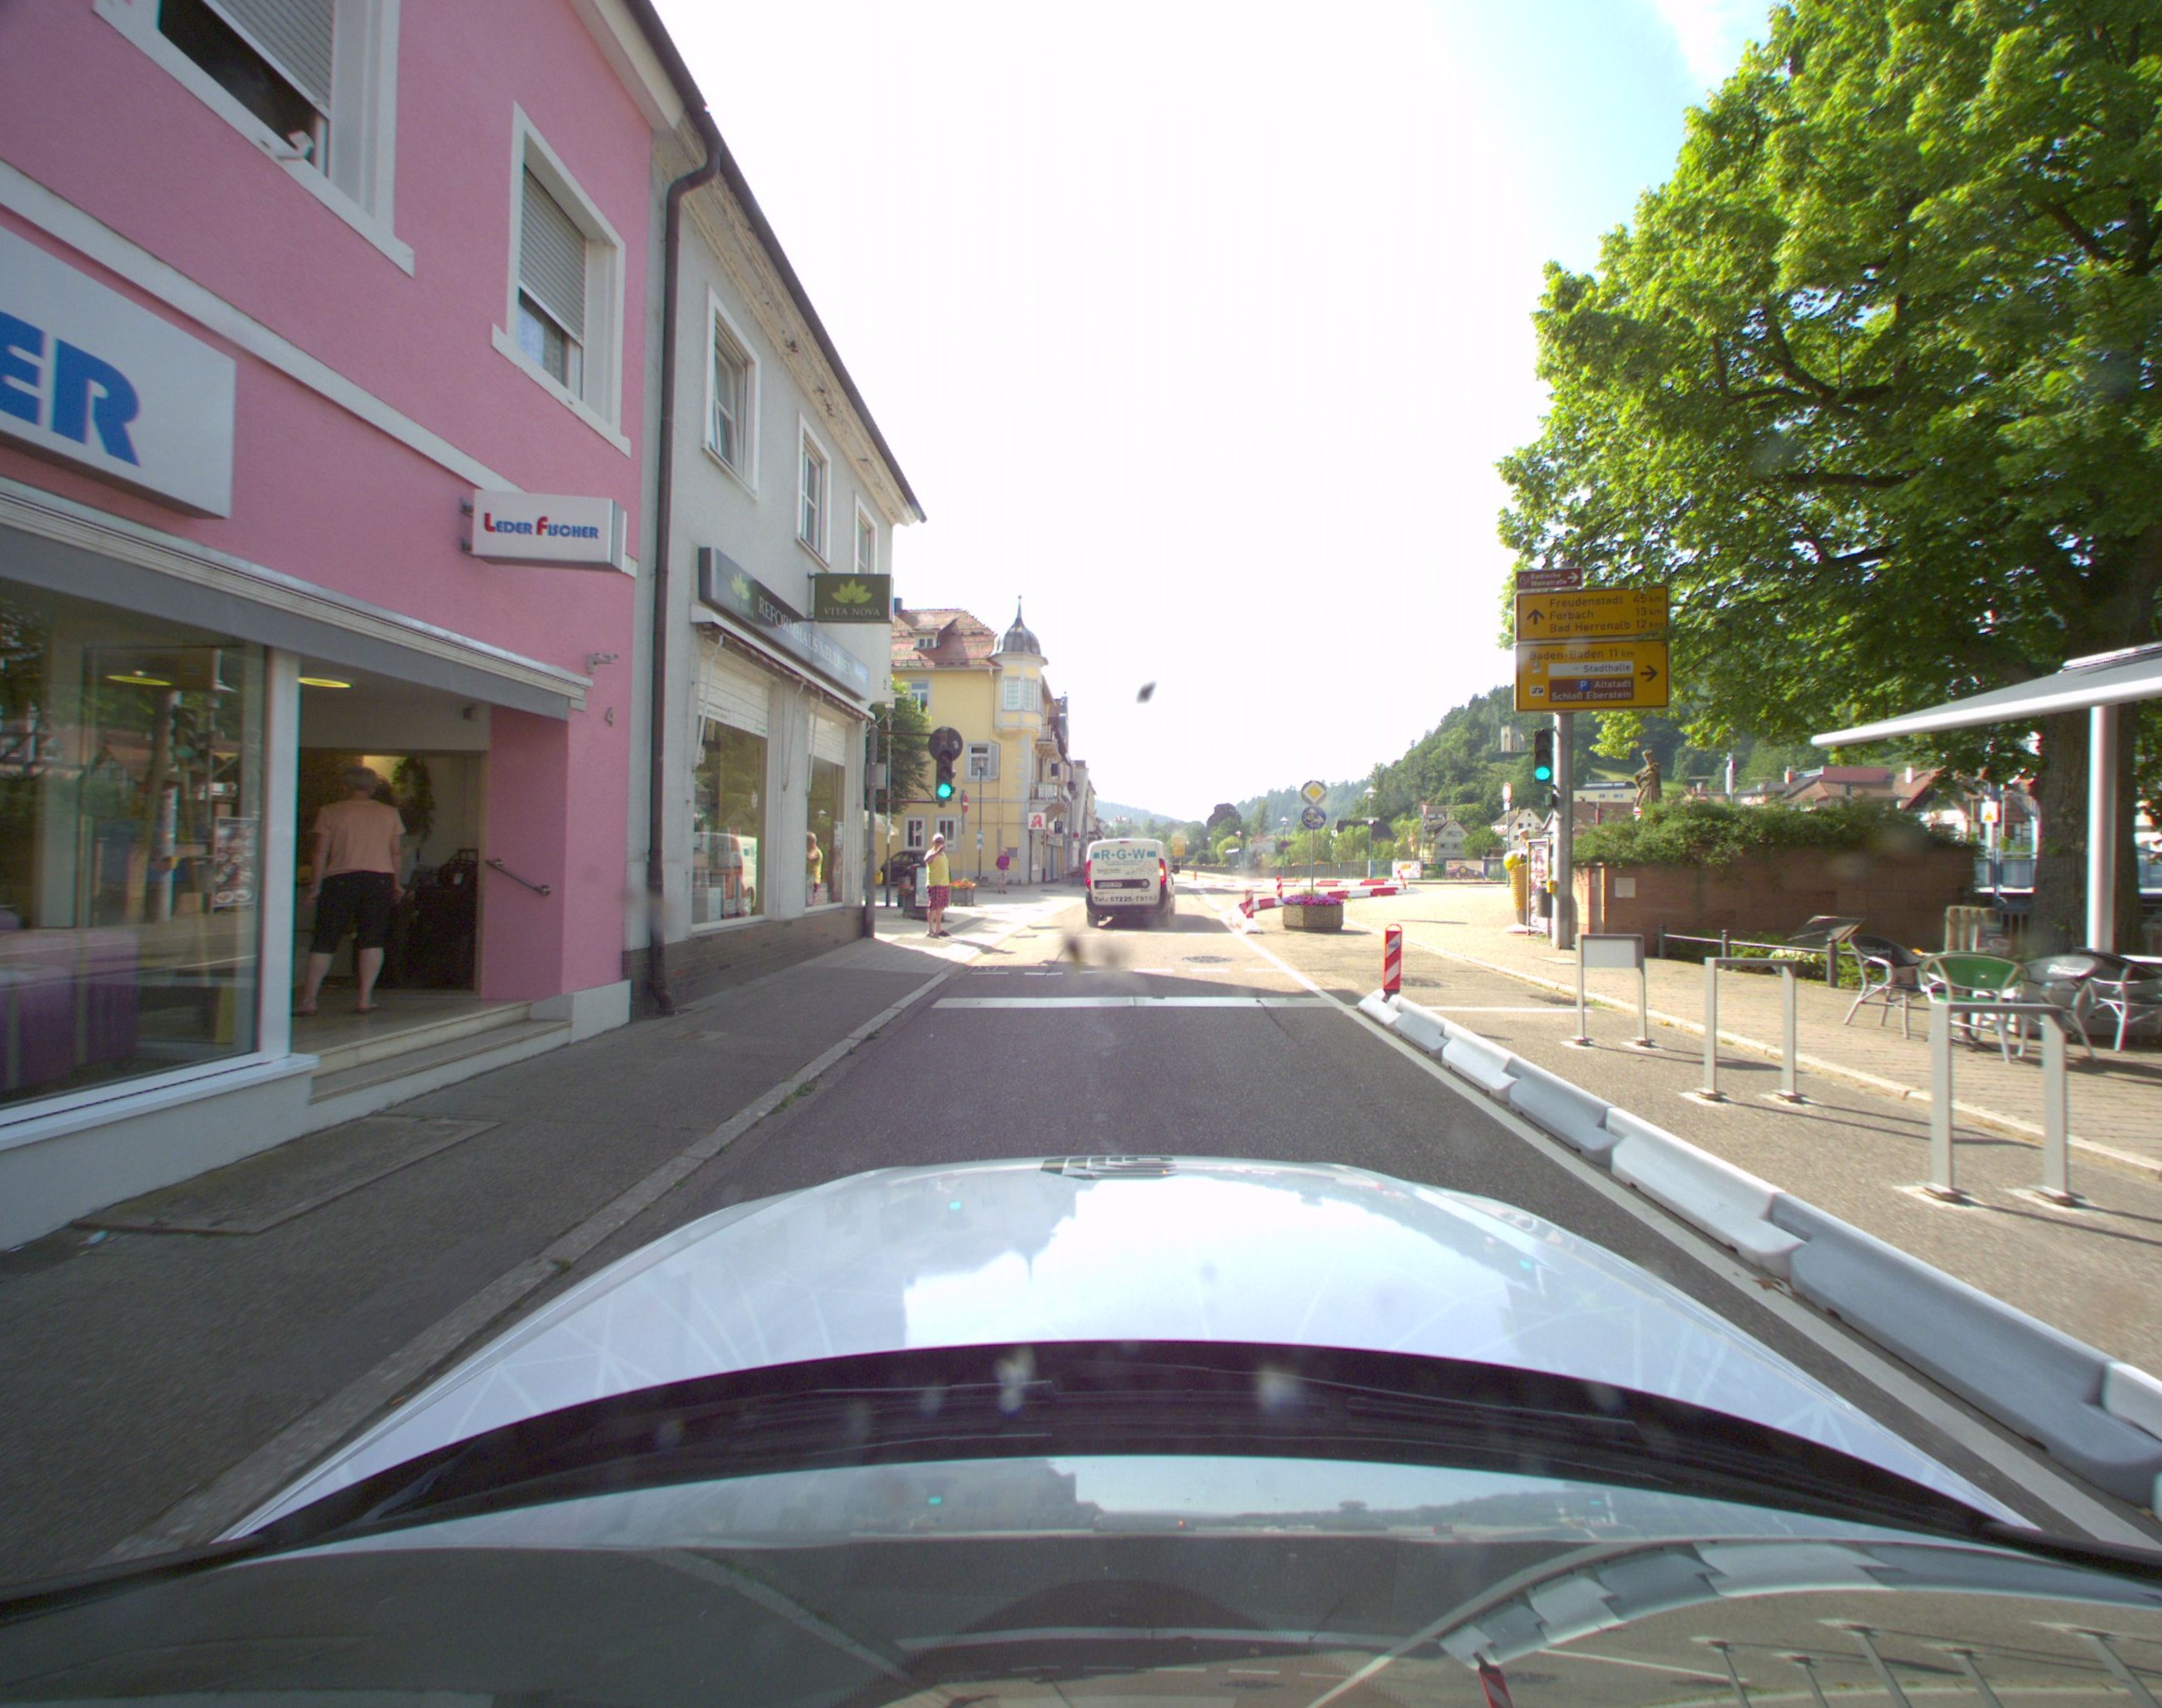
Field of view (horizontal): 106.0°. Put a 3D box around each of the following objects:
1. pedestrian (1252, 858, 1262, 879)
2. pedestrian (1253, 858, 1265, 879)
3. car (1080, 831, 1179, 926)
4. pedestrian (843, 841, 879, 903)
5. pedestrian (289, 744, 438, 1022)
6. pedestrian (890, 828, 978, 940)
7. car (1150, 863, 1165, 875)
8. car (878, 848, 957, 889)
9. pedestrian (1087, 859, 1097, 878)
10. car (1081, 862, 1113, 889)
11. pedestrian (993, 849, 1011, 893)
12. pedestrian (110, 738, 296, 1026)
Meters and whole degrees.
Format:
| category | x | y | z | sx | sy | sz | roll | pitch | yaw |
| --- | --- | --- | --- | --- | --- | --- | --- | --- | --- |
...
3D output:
| category | x | y | z | sx | sy | sz | roll | pitch | yaw |
| --- | --- | --- | --- | --- | --- | --- | --- | --- | --- |
| pedestrian | 14.595 | 1.172 | 67.485 | 0.785 | 1.706 | 0.492 | 0 | -1 | 4 |
| pedestrian | 14.578 | 1.165 | 66.869 | 0.862 | 1.706 | 0.778 | 0 | -1 | 5 |
| car | 1.241 | 0.506 | 18.759 | 1.834 | 1.906 | 4.325 | -1 | 0 | 8 |
| pedestrian | -6.111 | 0.509 | 22.647 | 0.566 | 1.659 | 0.886 | 1 | -3 | 11 |
| pedestrian | -4.842 | 0.179 | 5.529 | 0.719 | 1.722 | 0.666 | 0 | 0 | -41 |
| pedestrian | -2.568 | 0.518 | 14.276 | 1.008 | 1.815 | 0.913 | 5 | -1 | 31 |
| car | 10.970 | 2.175 | 117.486 | 1.985 | 1.662 | 4.003 | 1 | 0 | 3 |
| car | -6.870 | 0.571 | 33.940 | 1.930 | 1.543 | 3.919 | 1 | 1 | -33 |
| pedestrian | 1.016 | 1.282 | 73.160 | 0.682 | 1.696 | 0.664 | -1 | -1 | 30 |
| car | 0.995 | 1.273 | 49.331 | 1.840 | 1.568 | 3.569 | 0 | -1 | 2 |
| pedestrian | -3.109 | 0.655 | 32.043 | 0.676 | 1.714 | 0.617 | 1 | 0 | -3 |
| pedestrian | -5.582 | 0.169 | 5.213 | 0.575 | 1.722 | 0.567 | 0 | 0 | -13 |
